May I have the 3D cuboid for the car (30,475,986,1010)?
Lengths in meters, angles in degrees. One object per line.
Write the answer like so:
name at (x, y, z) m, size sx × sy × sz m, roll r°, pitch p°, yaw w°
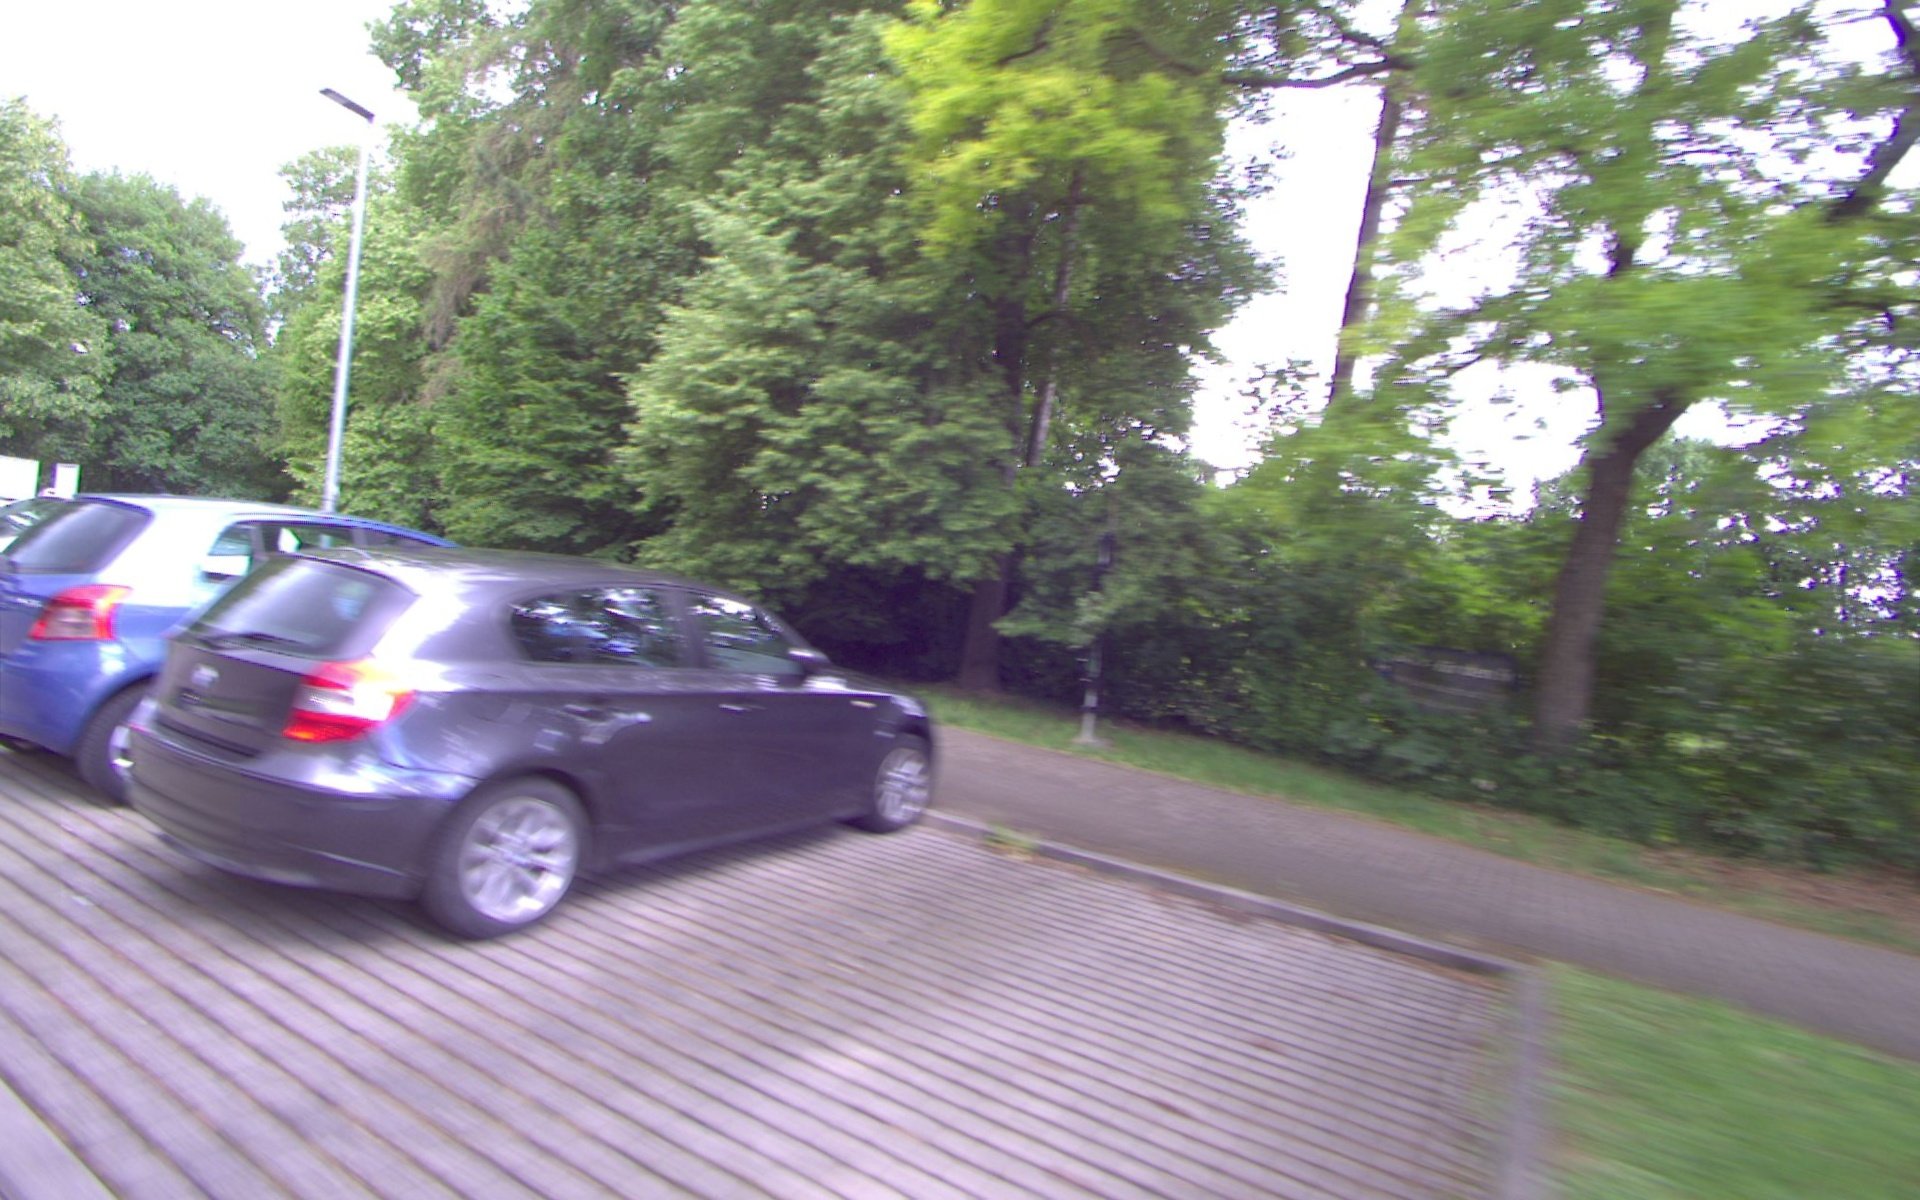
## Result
car at (-1.669, 0.480, 5.111) m, size 1.755 × 1.482 × 4.092 m, roll 7°, pitch 0°, yaw 30°

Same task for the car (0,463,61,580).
car at (-16.234, -1.373, 14.281) m, size 1.942 × 1.715 × 4.817 m, roll 7°, pitch 1°, yaw 34°

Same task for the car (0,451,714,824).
car at (-3.780, 0.202, 6.533) m, size 1.755 × 1.590 × 4.141 m, roll 7°, pitch 0°, yaw 30°

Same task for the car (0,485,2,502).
car at (-82.103, -9.133, 82.838) m, size 1.678 × 1.445 × 4.426 m, roll 7°, pitch 0°, yaw 38°

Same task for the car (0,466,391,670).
car at (-7.785, -0.280, 9.154) m, size 1.754 × 1.590 × 4.166 m, roll 7°, pitch 0°, yaw 27°

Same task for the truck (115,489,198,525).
truck at (-74.226, -8.579, 93.026) m, size 2.160 × 2.456 × 5.504 m, roll 7°, pitch 0°, yaw 38°

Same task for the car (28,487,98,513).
car at (-78.222, -8.699, 87.778) m, size 1.678 × 1.545 × 4.280 m, roll 7°, pitch 0°, yaw 38°

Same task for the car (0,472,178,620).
car at (-11.848, -0.760, 11.489) m, size 1.821 × 1.590 × 4.161 m, roll 7°, pitch 0°, yaw 33°
